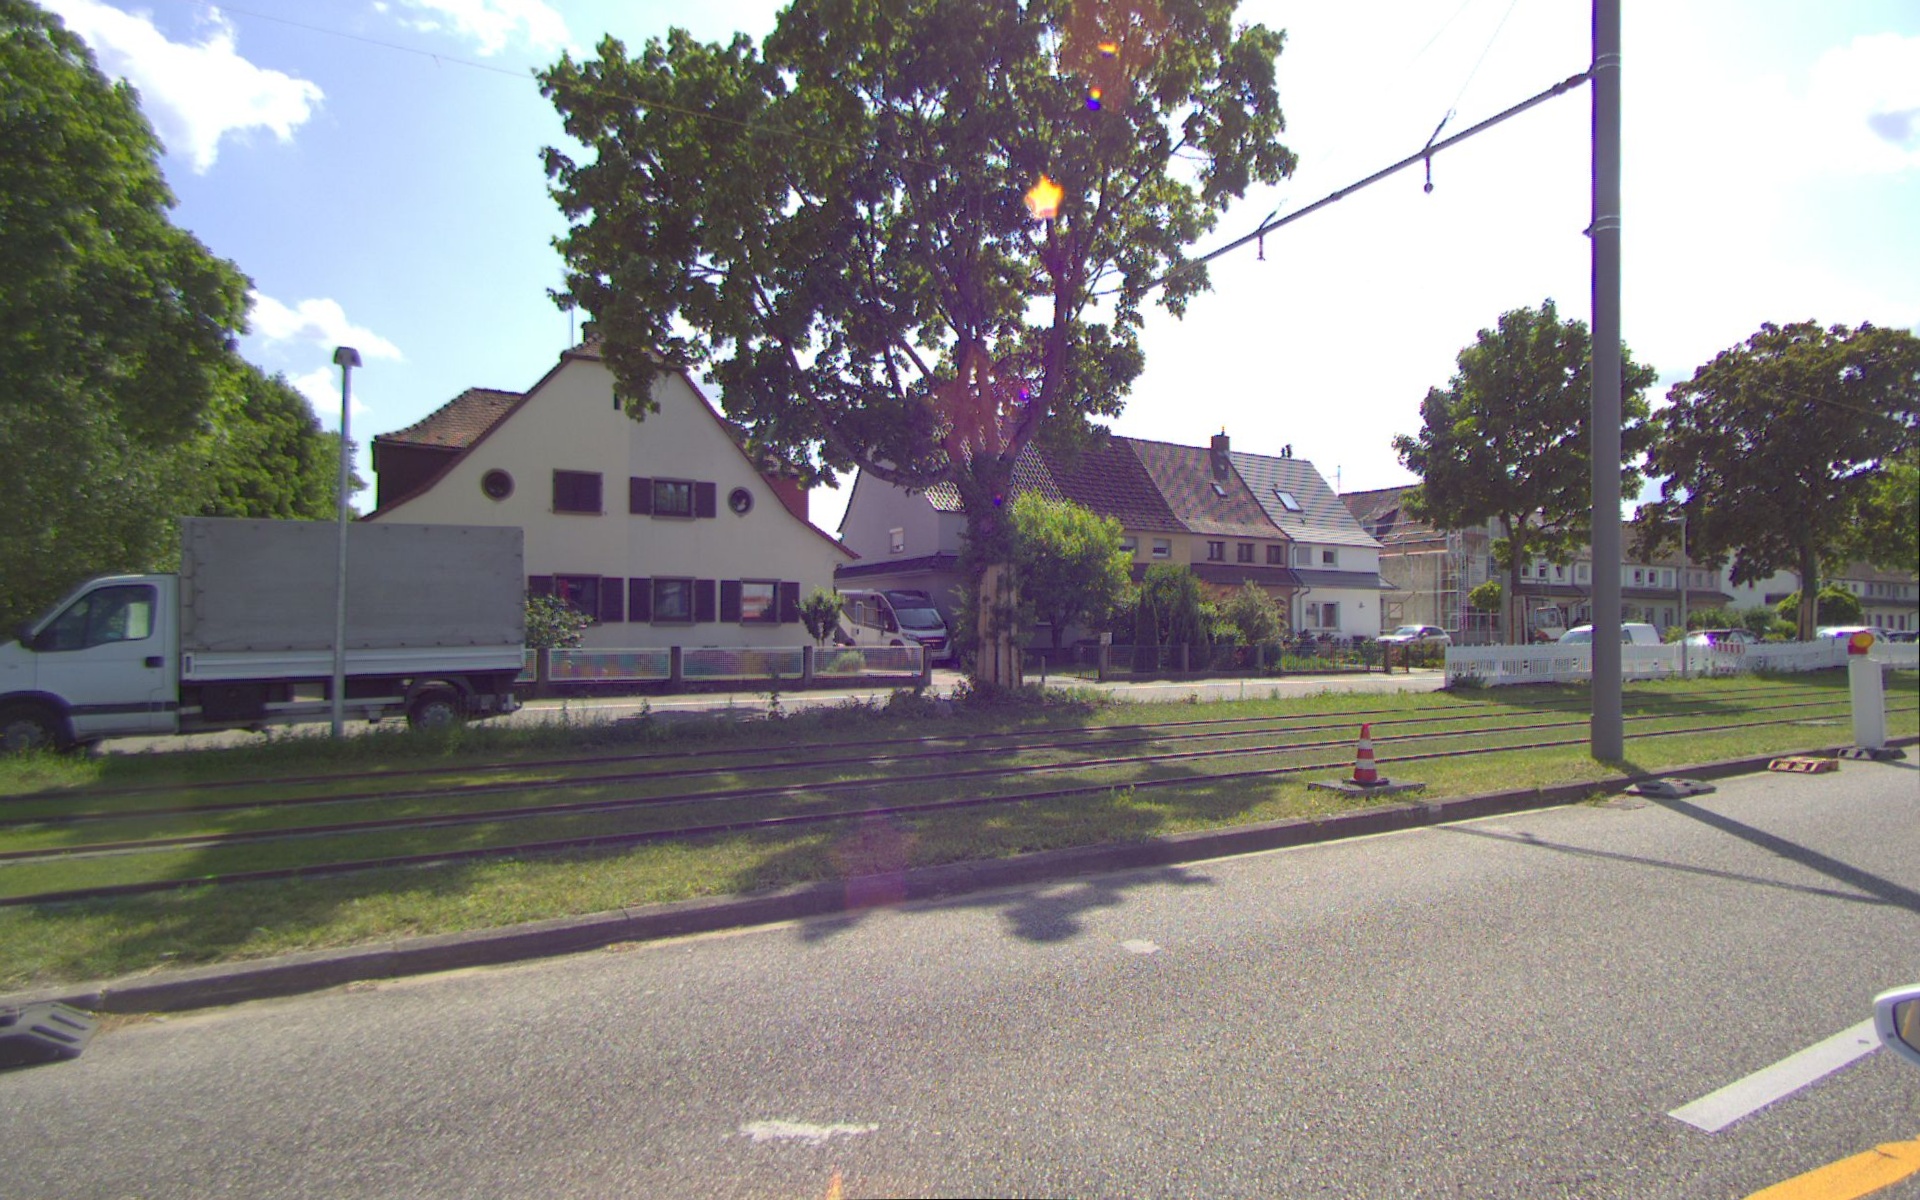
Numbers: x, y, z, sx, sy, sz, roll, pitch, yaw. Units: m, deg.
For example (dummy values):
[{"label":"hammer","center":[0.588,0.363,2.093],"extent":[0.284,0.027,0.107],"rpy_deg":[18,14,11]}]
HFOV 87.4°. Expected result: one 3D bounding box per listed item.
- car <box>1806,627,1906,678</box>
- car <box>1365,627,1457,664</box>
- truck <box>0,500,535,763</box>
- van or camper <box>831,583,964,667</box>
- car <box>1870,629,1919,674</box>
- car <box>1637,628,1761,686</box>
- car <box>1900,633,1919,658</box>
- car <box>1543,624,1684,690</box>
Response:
[{"label":"car","center":[35.368,2.030,39.635],"extent":[4.079,1.892,1.768],"rpy_deg":[1,-2,-30]},{"label":"car","center":[19.995,1.990,44.490],"extent":[3.952,1.539,1.768],"rpy_deg":[1,-2,-30]},{"label":"truck","center":[-8.828,0.402,12.965],"extent":[5.906,2.817,2.255],"rpy_deg":[1,-2,-31]},{"label":"van or camper","center":[-2.418,0.937,36.614],"extent":[2.269,2.801,6.051],"rpy_deg":[1,-2,-32]},{"label":"car","center":[40.651,2.163,42.691],"extent":[4.079,1.829,1.768],"rpy_deg":[1,-2,-30]},{"label":"car","center":[24.296,1.821,32.995],"extent":[4.177,1.797,1.768],"rpy_deg":[1,-2,-30]},{"label":"car","center":[70.036,3.303,72.742],"extent":[4.079,1.745,1.768],"rpy_deg":[1,-2,-30]},{"label":"car","center":[19.567,1.643,30.037],"extent":[4.312,1.845,1.768],"rpy_deg":[1,-2,-30]}]
